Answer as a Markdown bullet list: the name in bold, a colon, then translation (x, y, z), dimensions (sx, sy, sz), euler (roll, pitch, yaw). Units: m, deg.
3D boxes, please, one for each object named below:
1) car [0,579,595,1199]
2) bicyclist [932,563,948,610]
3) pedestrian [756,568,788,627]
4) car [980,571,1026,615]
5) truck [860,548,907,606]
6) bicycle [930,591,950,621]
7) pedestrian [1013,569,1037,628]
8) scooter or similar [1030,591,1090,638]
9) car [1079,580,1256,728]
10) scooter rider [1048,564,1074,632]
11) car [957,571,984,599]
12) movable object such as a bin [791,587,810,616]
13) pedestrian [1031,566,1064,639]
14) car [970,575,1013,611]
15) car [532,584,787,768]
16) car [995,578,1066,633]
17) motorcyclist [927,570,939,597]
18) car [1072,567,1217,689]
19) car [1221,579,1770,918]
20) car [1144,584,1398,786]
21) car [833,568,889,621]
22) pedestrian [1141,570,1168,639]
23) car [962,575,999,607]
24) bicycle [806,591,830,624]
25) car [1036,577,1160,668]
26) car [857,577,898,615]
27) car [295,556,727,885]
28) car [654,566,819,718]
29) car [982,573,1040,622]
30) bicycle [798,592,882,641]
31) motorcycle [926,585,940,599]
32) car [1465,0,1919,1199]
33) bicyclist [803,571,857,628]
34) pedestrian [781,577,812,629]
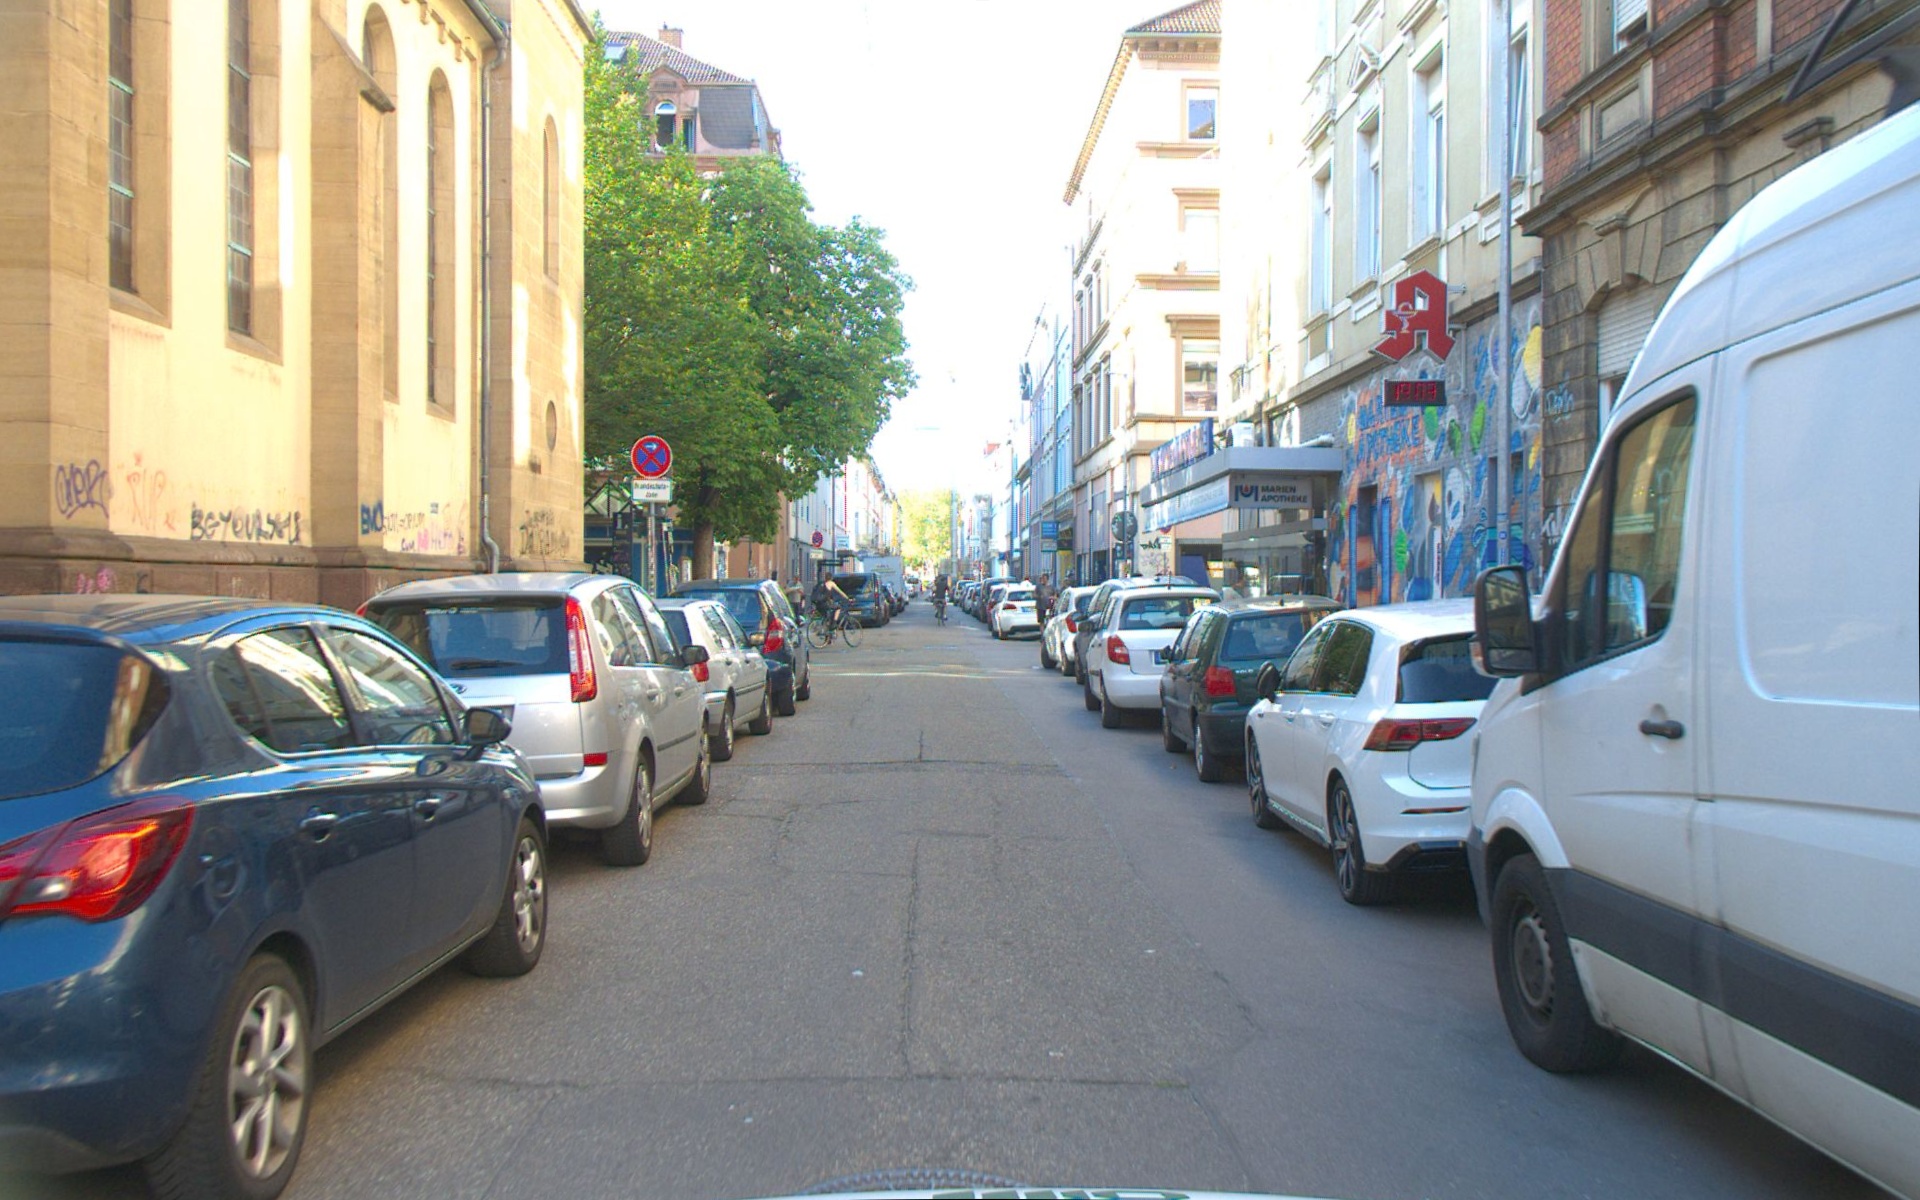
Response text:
- **car**: translation (-2.386, 0.702, 5.248), dimensions (1.582, 1.477, 3.950), euler (-2, 1, -1)
- **bicyclist**: translation (-0.732, -0.489, 60.746), dimensions (0.593, 1.717, 0.885), euler (0, 0, -1)
- **pedestrian**: translation (-5.861, -0.086, 51.559), dimensions (0.910, 1.817, 0.806), euler (0, 0, 0)
- **car**: translation (1.760, -0.312, 68.694), dimensions (1.733, 1.771, 4.000), euler (0, 1, -1)
- **truck**: translation (-4.481, -1.362, 98.119), dimensions (2.480, 3.339, 6.994), euler (0, 1, -1)
- **bicycle**: translation (-0.733, 0.199, 60.782), dimensions (0.724, 1.062, 1.859), euler (0, 1, -1)
- **pedestrian**: translation (2.079, -0.050, 53.054), dimensions (0.766, 1.875, 1.012), euler (0, 1, 2)
- **scooter or similar**: translation (2.521, 0.360, 41.615), dimensions (1.497, 1.159, 0.601), euler (0, 0, 4)
- **car**: translation (2.321, 0.543, 19.387), dimensions (1.571, 1.531, 4.000), euler (1, 1, 0)
- **scooter rider**: translation (2.540, -0.054, 41.614), dimensions (0.636, 1.671, 0.684), euler (0, 0, 4)
- **car**: translation (0.797, -1.125, 124.420), dimensions (1.953, 2.049, 4.000), euler (0, 1, -1)
- **movable object such as a bin**: translation (-6.472, 0.075, 67.044), dimensions (0.699, 1.161, 0.583), euler (0, 0, 3)
- **pedestrian**: translation (2.267, 0.060, 42.885), dimensions (0.669, 1.875, 0.692), euler (0, 1, -12)
- **car**: translation (1.547, -0.382, 81.874), dimensions (1.953, 1.660, 4.000), euler (2, 1, -1)
- **car**: translation (-2.709, 0.620, 15.697), dimensions (1.538, 1.422, 3.809), euler (-4, 1, 2)
- **car**: translation (1.998, 0.118, 47.832), dimensions (1.859, 1.514, 3.869), euler (0, 1, -1)
- **motorcyclist**: translation (-2.022, -1.226, 124.645), dimensions (0.884, 2.049, 1.190), euler (0, 0, -3)
- **car**: translation (2.682, 0.366, 24.852), dimensions (1.681, 1.674, 4.000), euler (0, 1, -1)
- **car**: translation (2.795, 0.653, 9.737), dimensions (1.743, 1.512, 4.359), euler (1, 1, -1)
- **car**: translation (2.616, 0.644, 14.665), dimensions (1.537, 1.521, 3.653), euler (1, 1, 0)
- **car**: translation (-3.541, -0.222, 59.735), dimensions (1.837, 1.828, 4.000), euler (0, 1, -1)
- **pedestrian**: translation (4.793, 0.101, 40.747), dimensions (0.454, 1.671, 0.495), euler (-1, 1, -41)
- **car**: translation (1.128, -0.524, 92.557), dimensions (1.953, 1.715, 4.000), euler (2, 1, -1)
- **bicycle**: translation (-4.884, 0.252, 56.781), dimensions (0.633, 1.128, 1.600), euler (0, 1, -11)
- **car**: translation (2.410, 0.352, 29.706), dimensions (1.682, 1.514, 3.867), euler (0, 1, -4)
- **car**: translation (-4.045, -0.226, 81.439), dimensions (1.837, 1.828, 4.000), euler (0, 1, -1)
- **car**: translation (-2.493, 0.569, 10.171), dimensions (1.639, 1.586, 3.999), euler (-1, 1, -2)
- **car**: translation (-2.687, 0.456, 20.632), dimensions (1.568, 1.642, 3.807), euler (-3, 1, -2)
- **car**: translation (1.756, -0.112, 57.993), dimensions (1.859, 1.679, 4.000), euler (0, 1, -1)
- **bicycle**: translation (-2.866, 0.374, 39.594), dimensions (1.929, 1.129, 0.757), euler (-1, 1, -39)
- **motorcycle**: translation (-2.034, -0.626, 124.122), dimensions (1.021, 0.997, 2.823), euler (0, 1, -3)
- **car**: translation (2.925, 0.105, 3.183), dimensions (2.026, 2.656, 5.887), euler (0, 1, -1)
- **bicyclist**: translation (-3.086, -0.019, 39.408), dimensions (1.052, 1.329, 0.747), euler (-1, 1, -39)
- **pedestrian**: translation (-5.267, 0.093, 53.257), dimensions (0.910, 1.666, 0.806), euler (0, 0, 0)
